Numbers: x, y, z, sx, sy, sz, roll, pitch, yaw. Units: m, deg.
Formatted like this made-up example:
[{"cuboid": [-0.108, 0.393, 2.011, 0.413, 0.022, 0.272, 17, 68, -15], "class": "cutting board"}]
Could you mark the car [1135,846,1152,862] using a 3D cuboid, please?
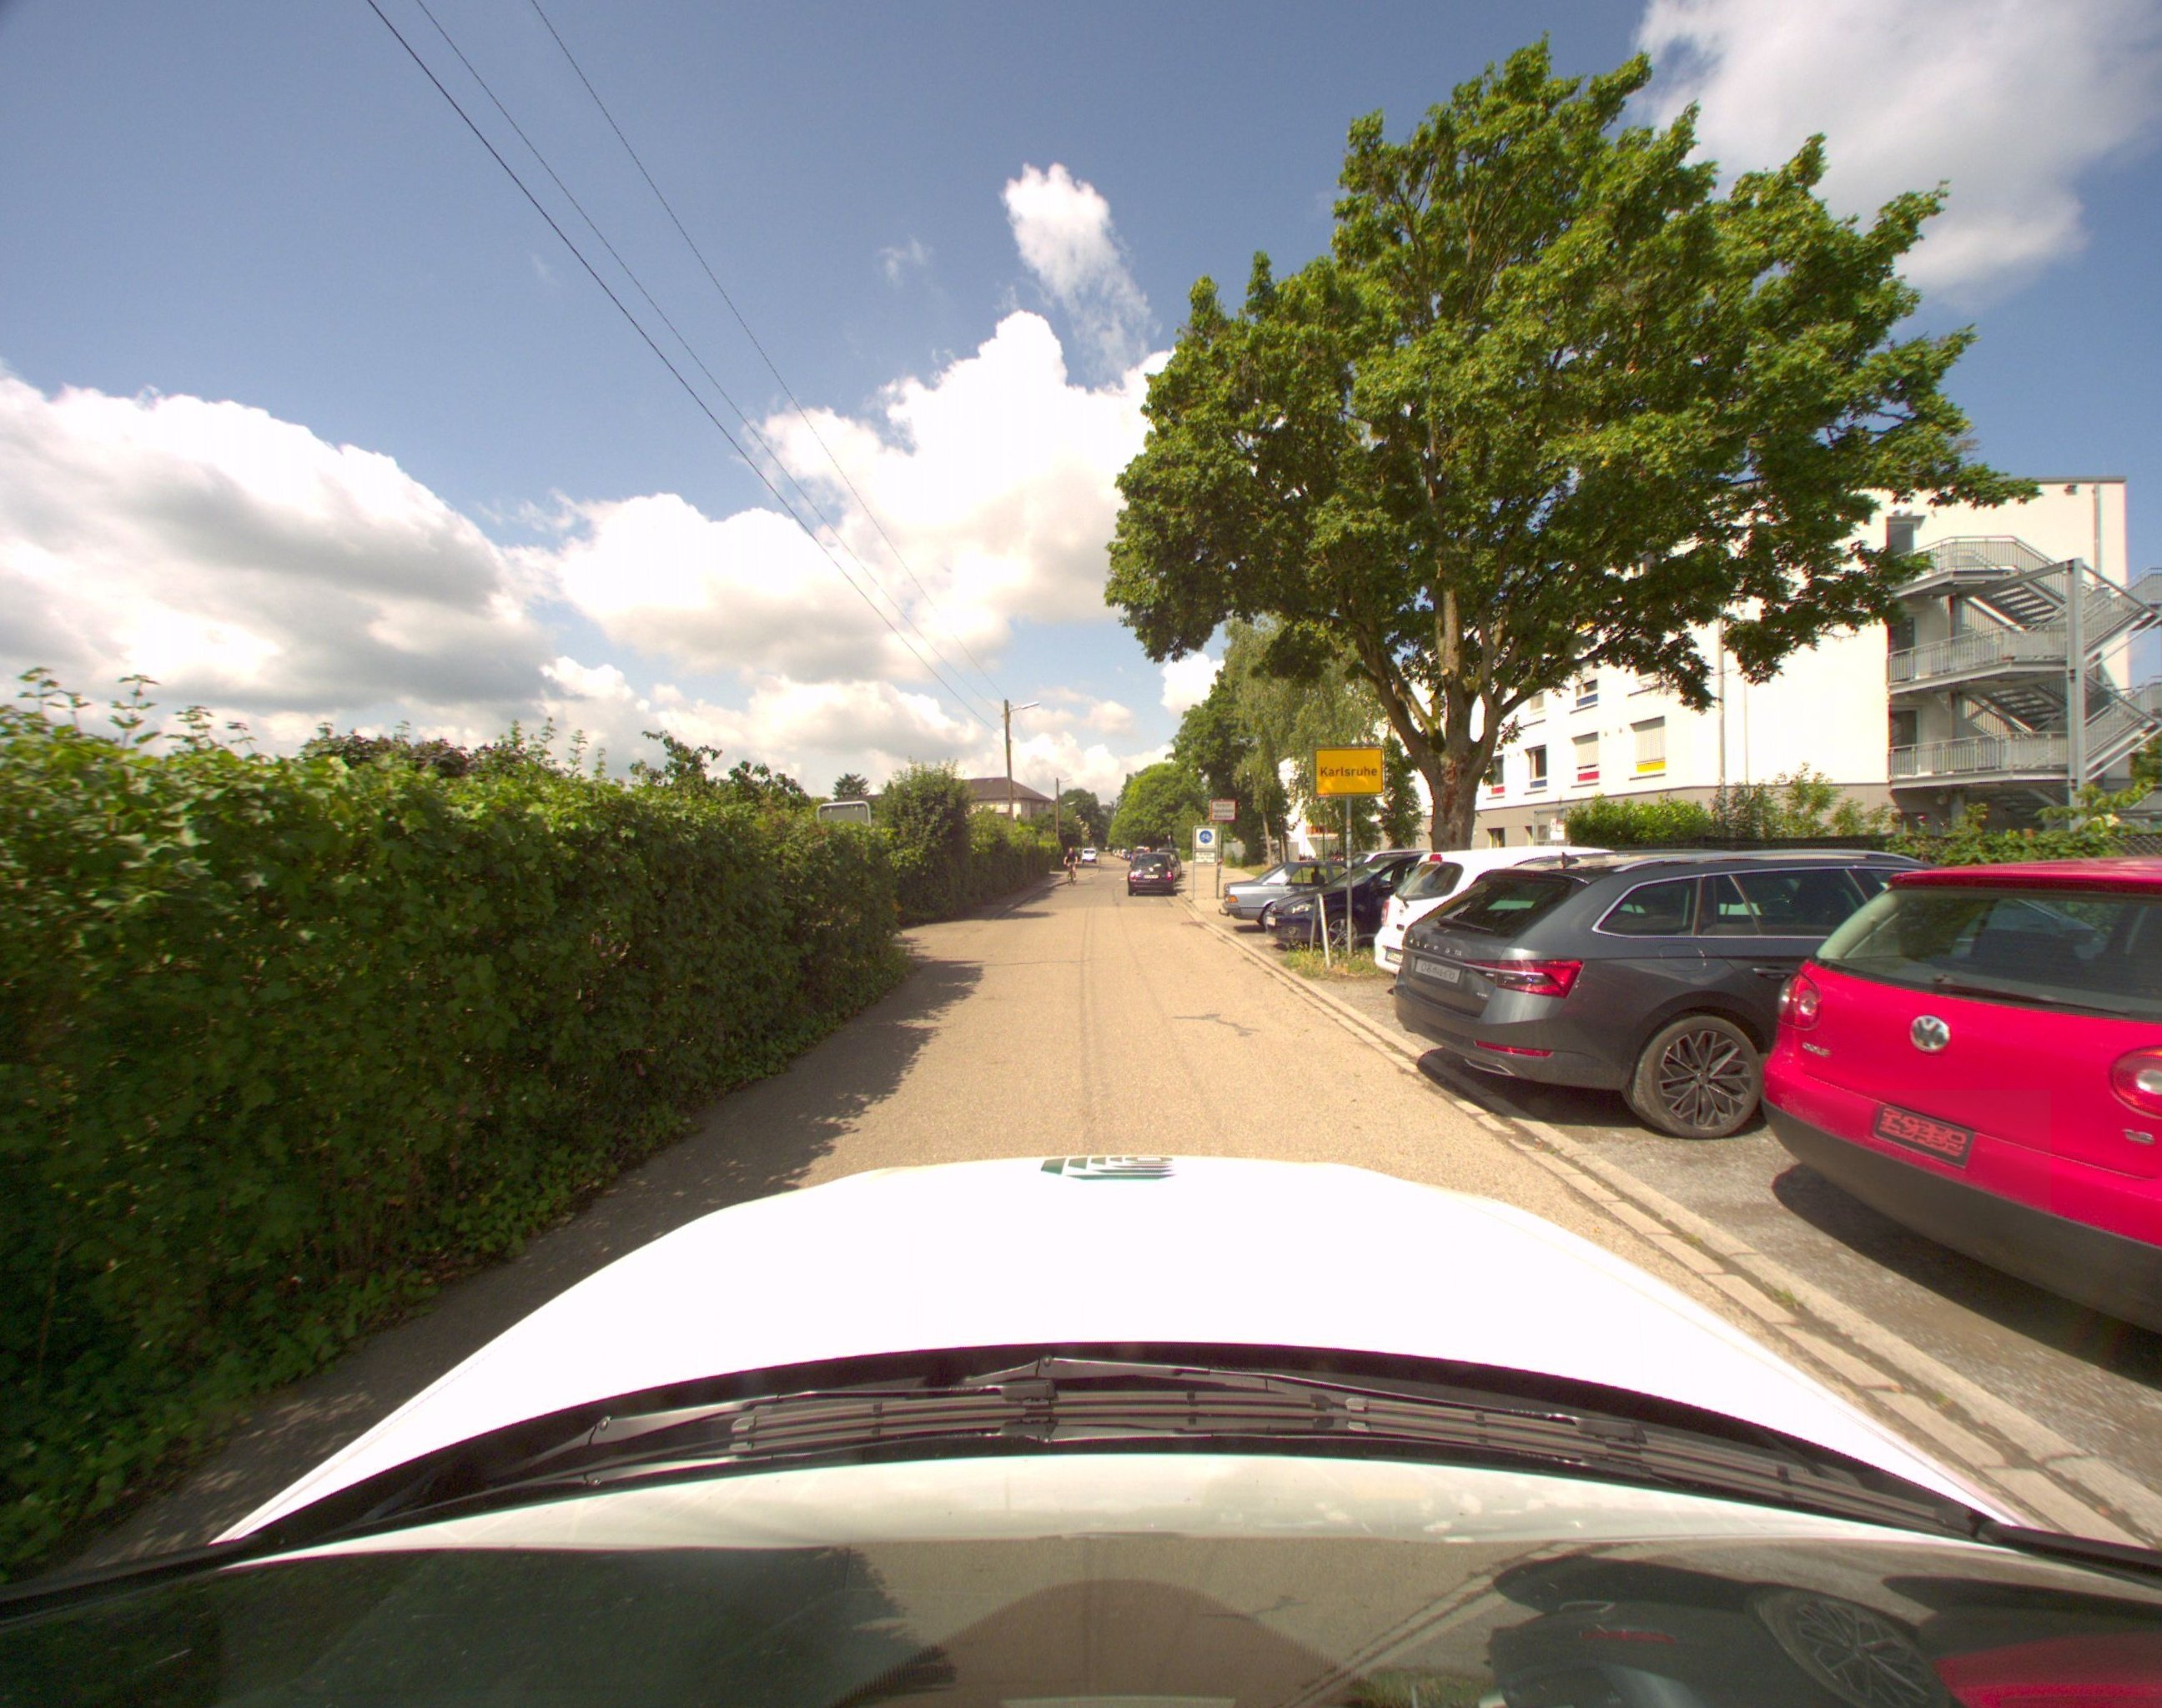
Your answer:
[{"cuboid": [7.502, 0.011, 98.284, 2.049, 1.926, 4.545, 0, 0, 4], "class": "car"}]

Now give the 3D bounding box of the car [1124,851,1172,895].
[{"cuboid": [2.525, 0.650, 30.075, 1.655, 1.506, 4.007, 0, 0, 6], "class": "car"}]

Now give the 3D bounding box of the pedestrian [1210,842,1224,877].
[{"cuboid": [6.861, 0.263, 41.093, 0.606, 1.745, 0.725, 0, 0, 15], "class": "pedestrian"}]

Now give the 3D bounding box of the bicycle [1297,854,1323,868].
[{"cuboid": [20.263, 0.637, 71.978, 2.078, 1.119, 0.626, -2, 0, 5], "class": "bicycle"}]

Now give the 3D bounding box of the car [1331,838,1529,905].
[{"cuboid": [8.727, 0.424, 20.613, 4.226, 1.430, 1.759, -3, 0, 0], "class": "car"}]

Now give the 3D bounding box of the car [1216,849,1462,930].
[{"cuboid": [4.945, 0.673, 16.108, 4.337, 1.392, 1.721, -2, 0, 5], "class": "car"}]

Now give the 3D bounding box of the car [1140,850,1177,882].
[{"cuboid": [4.004, 0.582, 41.548, 1.654, 1.552, 3.646, 0, 0, 8], "class": "car"}]

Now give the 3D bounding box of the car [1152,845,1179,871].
[{"cuboid": [6.178, 0.274, 59.454, 1.865, 1.806, 3.438, 0, 0, 6], "class": "car"}]

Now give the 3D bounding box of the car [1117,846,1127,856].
[{"cuboid": [8.929, -0.644, 177.840, 1.986, 2.013, 4.000, 0, 0, 1], "class": "car"}]

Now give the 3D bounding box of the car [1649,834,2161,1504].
[{"cuboid": [4.395, 0.685, 2.684, 3.796, 1.532, 1.762, -1, 0, 1], "class": "car"}]

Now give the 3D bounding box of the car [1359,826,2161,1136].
[{"cuboid": [4.304, 0.657, 5.095, 4.534, 1.578, 1.808, 0, 0, 0], "class": "car"}]

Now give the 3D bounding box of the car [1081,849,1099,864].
[{"cuboid": [1.142, 0.303, 98.379, 1.894, 1.814, 4.004, 0, 0, 4], "class": "car"}]

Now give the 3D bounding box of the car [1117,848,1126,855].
[{"cuboid": [9.633, -0.532, 192.588, 1.842, 1.618, 4.007, 0, 0, 6], "class": "car"}]

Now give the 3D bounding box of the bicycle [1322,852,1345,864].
[{"cuboid": [24.468, 0.374, 78.957, 2.038, 1.079, 0.689, -2, 0, 4], "class": "bicycle"}]

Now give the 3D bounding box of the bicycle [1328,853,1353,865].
[{"cuboid": [24.235, 0.485, 76.018, 2.038, 1.079, 0.689, -2, 0, 4], "class": "bicycle"}]

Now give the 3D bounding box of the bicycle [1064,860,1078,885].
[{"cuboid": [-0.473, 0.912, 40.807, 0.515, 1.150, 1.829, -2, 0, 4], "class": "bicycle"}]

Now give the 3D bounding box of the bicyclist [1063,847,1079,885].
[{"cuboid": [-0.491, 0.569, 40.703, 0.656, 1.852, 1.044, -2, 0, 4], "class": "bicyclist"}]

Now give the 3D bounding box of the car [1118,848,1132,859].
[{"cuboid": [6.690, -0.108, 122.893, 2.049, 1.652, 4.545, 0, 0, 4], "class": "car"}]

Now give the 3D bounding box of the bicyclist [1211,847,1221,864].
[{"cuboid": [14.223, 0.110, 85.859, 0.777, 1.785, 0.900, 0, 0, 33], "class": "bicyclist"}]

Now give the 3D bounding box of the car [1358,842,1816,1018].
[{"cuboid": [4.803, 0.680, 8.077, 3.564, 1.549, 1.665, 0, 0, -2], "class": "car"}]

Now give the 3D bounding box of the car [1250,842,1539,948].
[{"cuboid": [4.852, 0.613, 12.999, 3.921, 1.559, 1.867, 0, 0, -1], "class": "car"}]

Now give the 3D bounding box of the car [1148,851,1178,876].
[{"cuboid": [4.823, 0.536, 47.560, 1.655, 1.439, 3.750, 0, 0, 6], "class": "car"}]

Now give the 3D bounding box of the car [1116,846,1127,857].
[{"cuboid": [7.375, -0.425, 148.069, 2.049, 1.961, 4.545, 0, 0, 4], "class": "car"}]

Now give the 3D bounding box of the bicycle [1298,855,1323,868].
[{"cuboid": [20.708, 0.633, 73.456, 2.038, 1.079, 0.689, -2, 0, 4], "class": "bicycle"}]

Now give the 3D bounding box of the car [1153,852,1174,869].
[{"cuboid": [7.386, 0.582, 73.107, 1.671, 1.519, 4.004, 0, 0, 4], "class": "car"}]

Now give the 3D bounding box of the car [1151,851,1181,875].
[{"cuboid": [5.427, 0.550, 52.253, 1.657, 1.435, 3.544, 0, 0, 2], "class": "car"}]
